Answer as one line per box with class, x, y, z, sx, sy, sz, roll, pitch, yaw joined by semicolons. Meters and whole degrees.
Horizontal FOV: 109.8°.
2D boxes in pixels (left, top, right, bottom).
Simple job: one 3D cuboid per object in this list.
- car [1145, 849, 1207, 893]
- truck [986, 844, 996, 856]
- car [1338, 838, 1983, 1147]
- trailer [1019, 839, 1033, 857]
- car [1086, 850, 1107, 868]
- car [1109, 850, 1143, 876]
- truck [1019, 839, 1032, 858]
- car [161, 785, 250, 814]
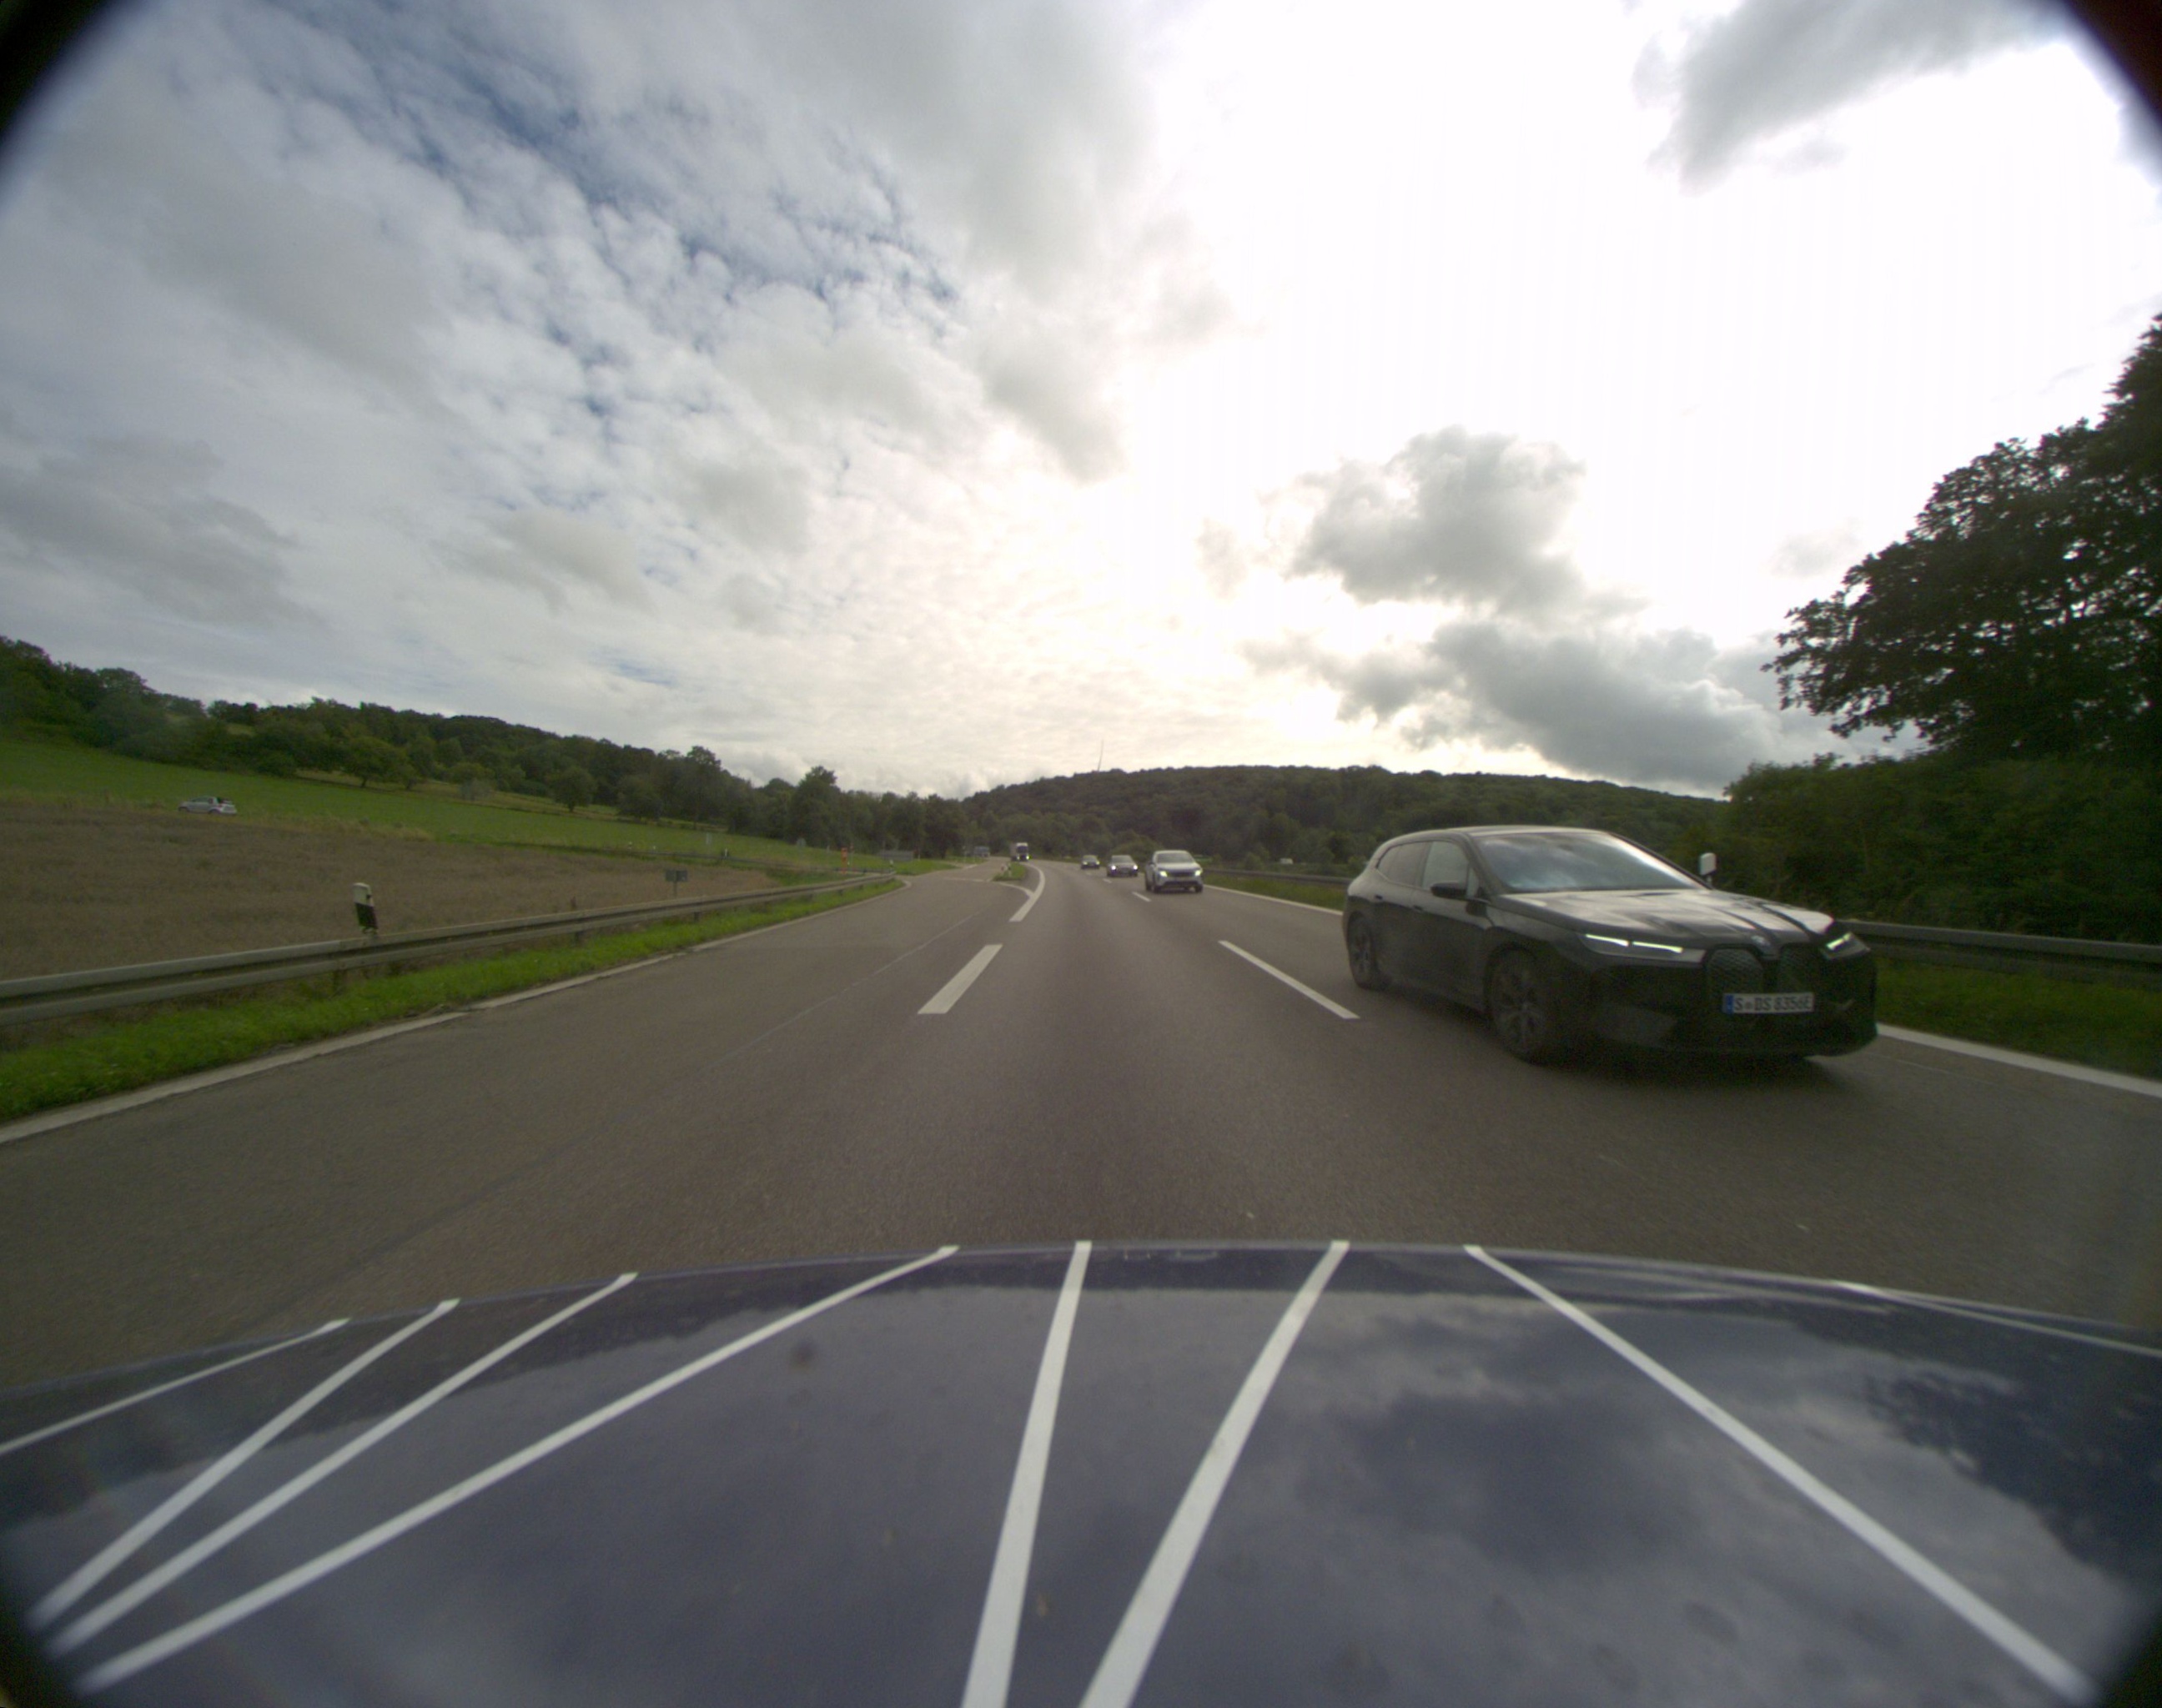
car;3.744;0.656;30.722;1.998;1.656;4.415;0;-1;1
truck;-30.523;-1.361;258.440;2.798;3.949;5.931;0;2;-13
car;3.947;0.761;6.387;1.999;1.656;4.414;-1;0;-1
trailer;-12.398;-1.373;171.722;2.787;3.933;11.289;0;2;-3
car;1.586;0.457;79.290;1.999;1.656;4.412;1;2;-1
car;3.109;0.588;53.239;1.999;1.656;4.413;0;1;-2
truck;-12.135;-1.275;166.771;2.796;3.949;5.936;0;2;-3
car;-67.611;-4.186;58.747;4.003;1.542;1.781;7;-3;-15
